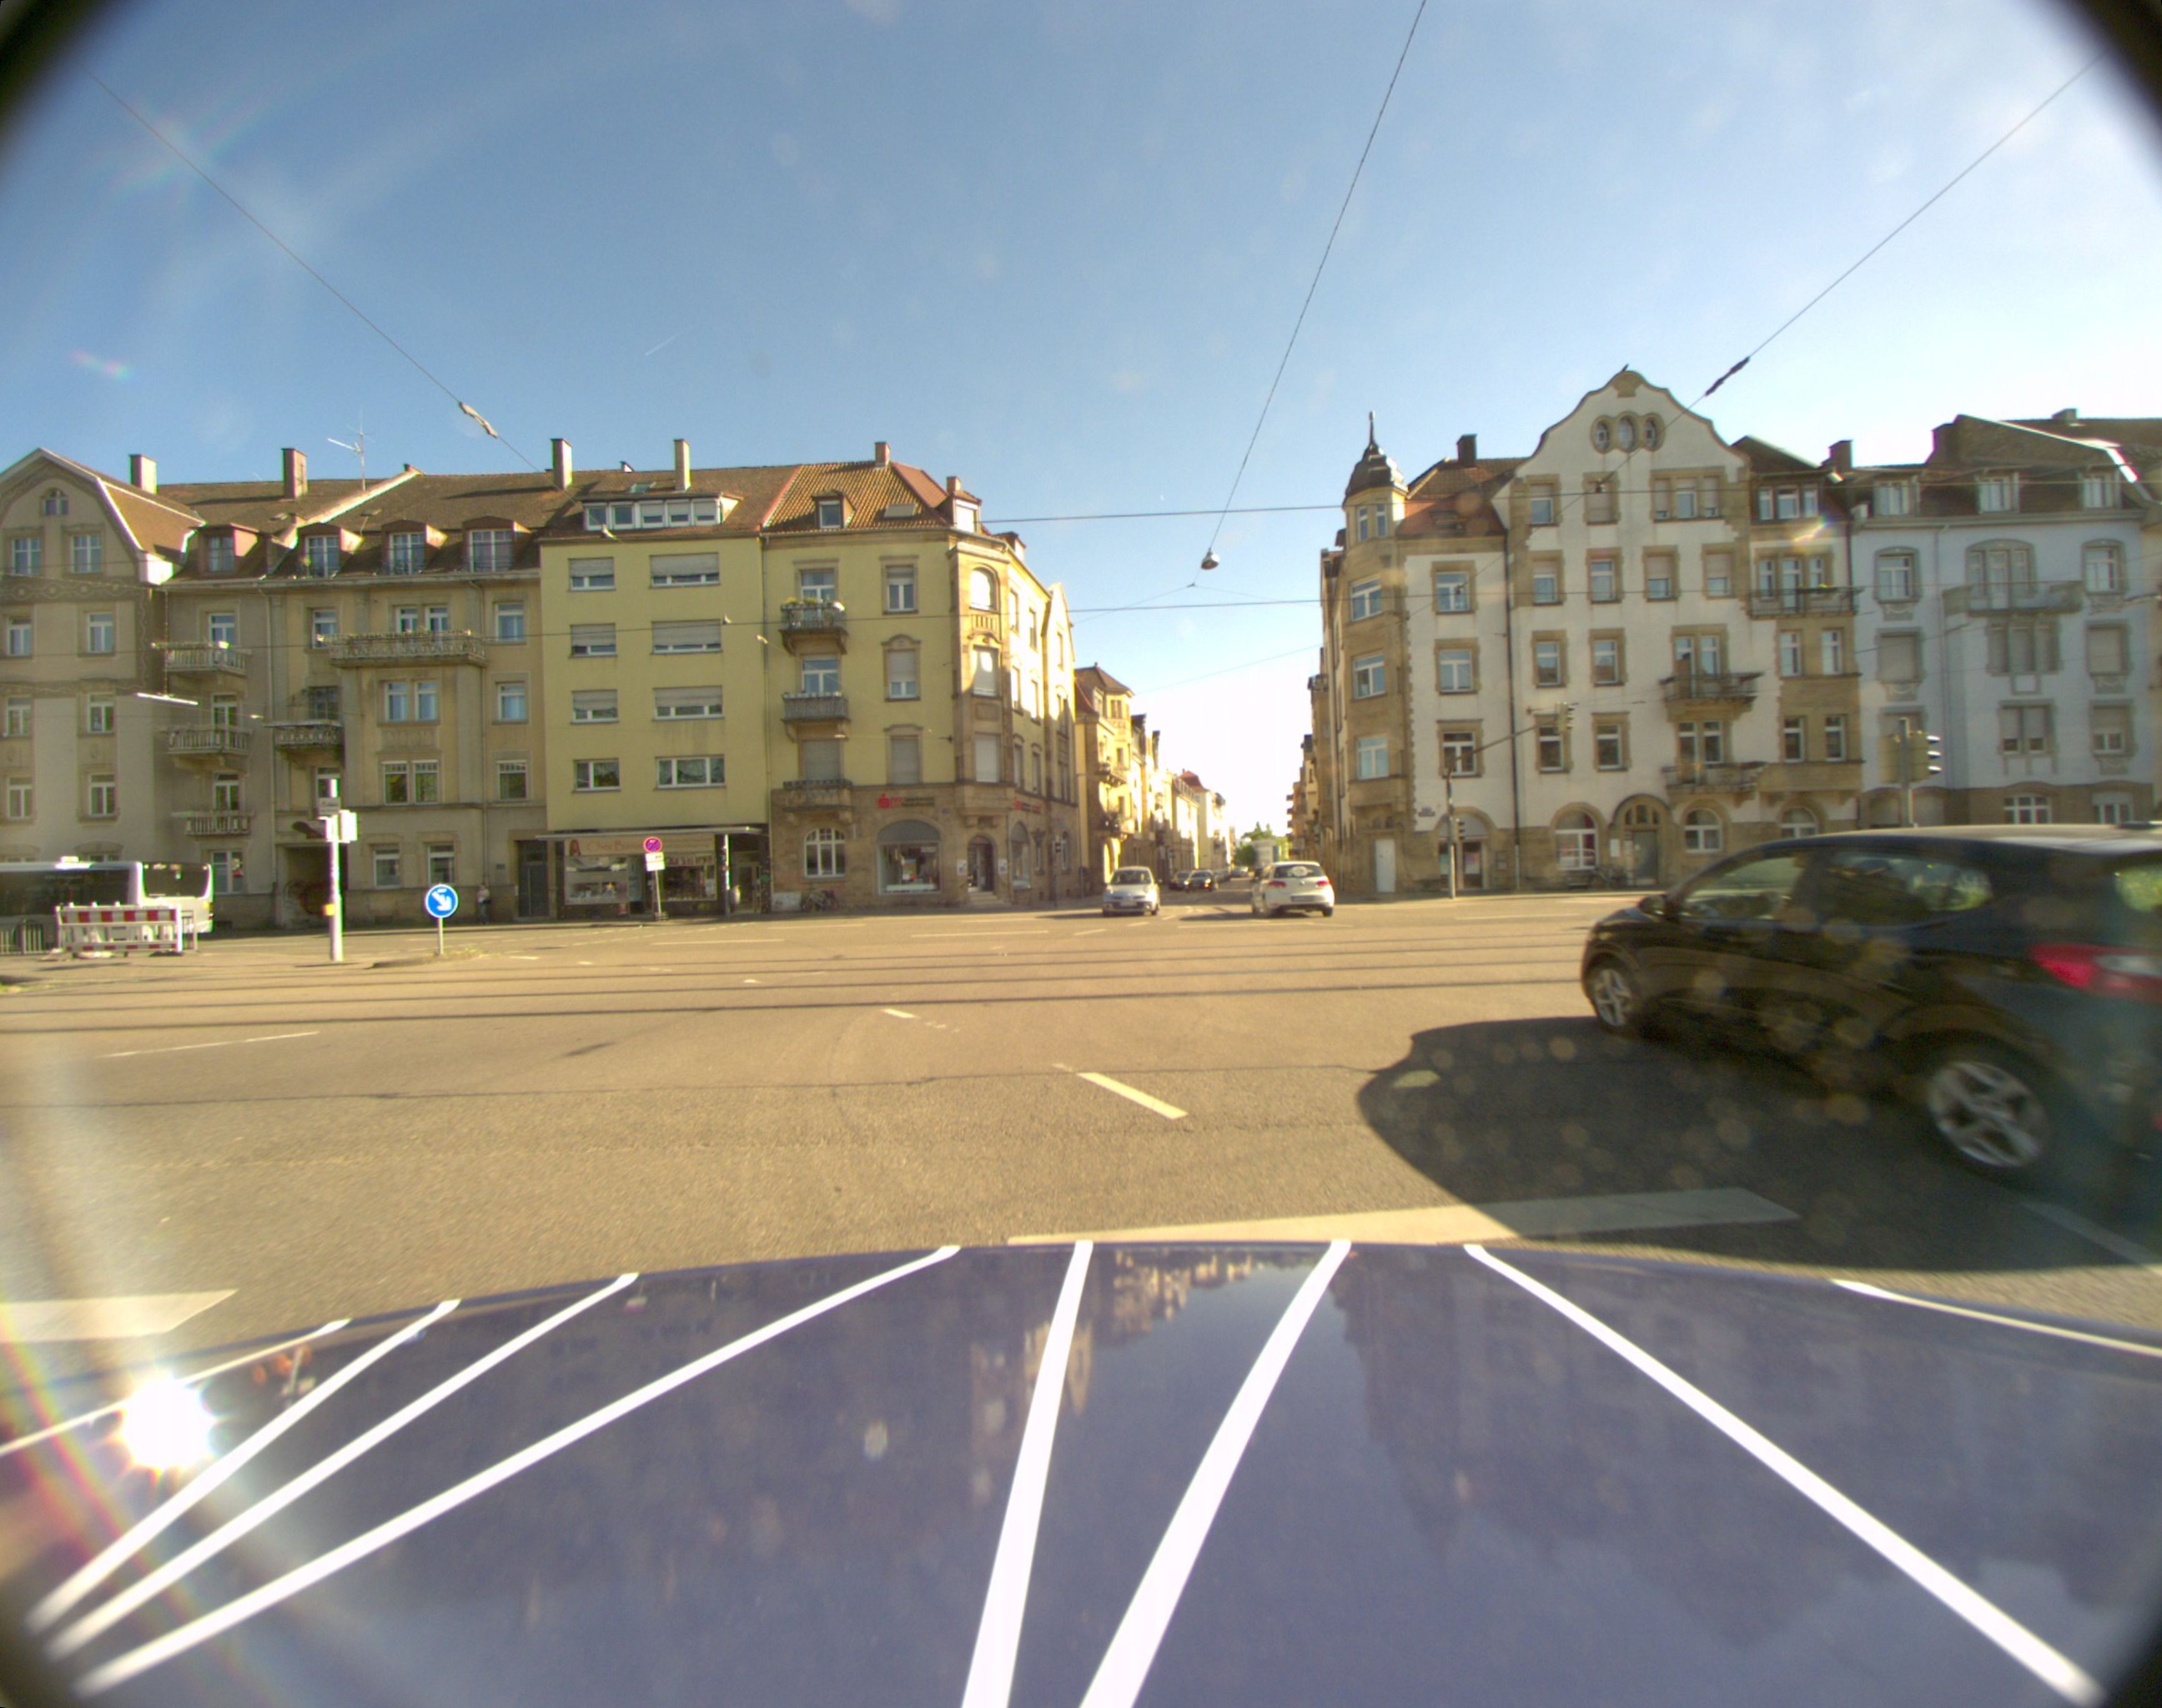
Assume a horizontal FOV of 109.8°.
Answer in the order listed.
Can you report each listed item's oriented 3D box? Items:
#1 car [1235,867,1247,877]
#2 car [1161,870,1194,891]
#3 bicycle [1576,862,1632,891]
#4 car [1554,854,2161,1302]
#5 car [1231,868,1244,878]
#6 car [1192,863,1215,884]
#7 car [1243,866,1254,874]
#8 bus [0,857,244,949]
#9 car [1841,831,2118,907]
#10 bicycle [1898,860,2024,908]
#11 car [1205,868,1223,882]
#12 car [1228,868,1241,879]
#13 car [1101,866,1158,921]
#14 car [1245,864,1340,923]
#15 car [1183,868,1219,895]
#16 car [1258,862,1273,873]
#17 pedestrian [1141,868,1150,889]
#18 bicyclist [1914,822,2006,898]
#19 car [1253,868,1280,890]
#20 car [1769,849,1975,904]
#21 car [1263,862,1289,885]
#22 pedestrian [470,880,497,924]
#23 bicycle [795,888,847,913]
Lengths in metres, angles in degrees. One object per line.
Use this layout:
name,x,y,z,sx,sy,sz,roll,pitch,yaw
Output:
car,30.257,3.343,143.836,1.875,1.656,4.005,-4,-1,16
car,7.886,2.153,61.980,1.996,1.528,4.005,-4,-2,16
bicycle,21.012,0.897,30.541,1.809,1.127,0.610,-2,-1,1
car,4.580,0.752,4.265,1.664,1.455,3.810,-2,0,4
car,28.363,3.453,137.839,1.875,1.656,4.005,-4,-1,16
car,13.143,2.110,81.295,1.831,2.022,3.825,-4,-2,15
car,36.743,3.529,166.531,1.875,1.656,4.005,-4,-1,16
bus,-37.736,1.811,27.396,10.682,3.015,3.132,-2,-2,-7
car,21.909,0.394,18.699,4.236,1.634,2.001,-2,-2,3
bicycle,18.479,0.628,15.983,1.636,0.919,0.795,-2,-1,3
car,16.448,2.545,93.559,1.831,1.586,3.824,-4,-2,13
car,26.890,3.421,133.043,1.875,1.656,4.005,-4,-1,16
car,1.539,1.199,24.323,1.651,1.559,3.618,-2,-1,3
car,5.758,1.036,21.192,1.810,1.449,4.002,-2,-1,5
car,8.360,1.854,52.579,1.875,1.656,4.005,-4,-1,16
car,29.380,2.166,121.002,1.915,1.718,4.353,-1,-1,17
pedestrian,5.260,1.979,61.733,0.577,1.712,0.698,-1,0,16
bicyclist,18.475,0.134,15.986,1.073,1.533,0.687,-2,0,3
car,12.461,1.641,50.837,1.554,1.403,3.576,0,-1,17
car,22.432,0.638,21.670,3.893,1.381,1.767,-2,-1,3
car,16.872,1.653,65.463,1.915,1.649,4.352,-6,-2,16
pedestrian,-24.813,1.985,31.552,0.521,1.792,0.709,-2,-1,5
bicycle,-10.842,1.931,31.708,1.951,0.970,0.516,-2,2,2
